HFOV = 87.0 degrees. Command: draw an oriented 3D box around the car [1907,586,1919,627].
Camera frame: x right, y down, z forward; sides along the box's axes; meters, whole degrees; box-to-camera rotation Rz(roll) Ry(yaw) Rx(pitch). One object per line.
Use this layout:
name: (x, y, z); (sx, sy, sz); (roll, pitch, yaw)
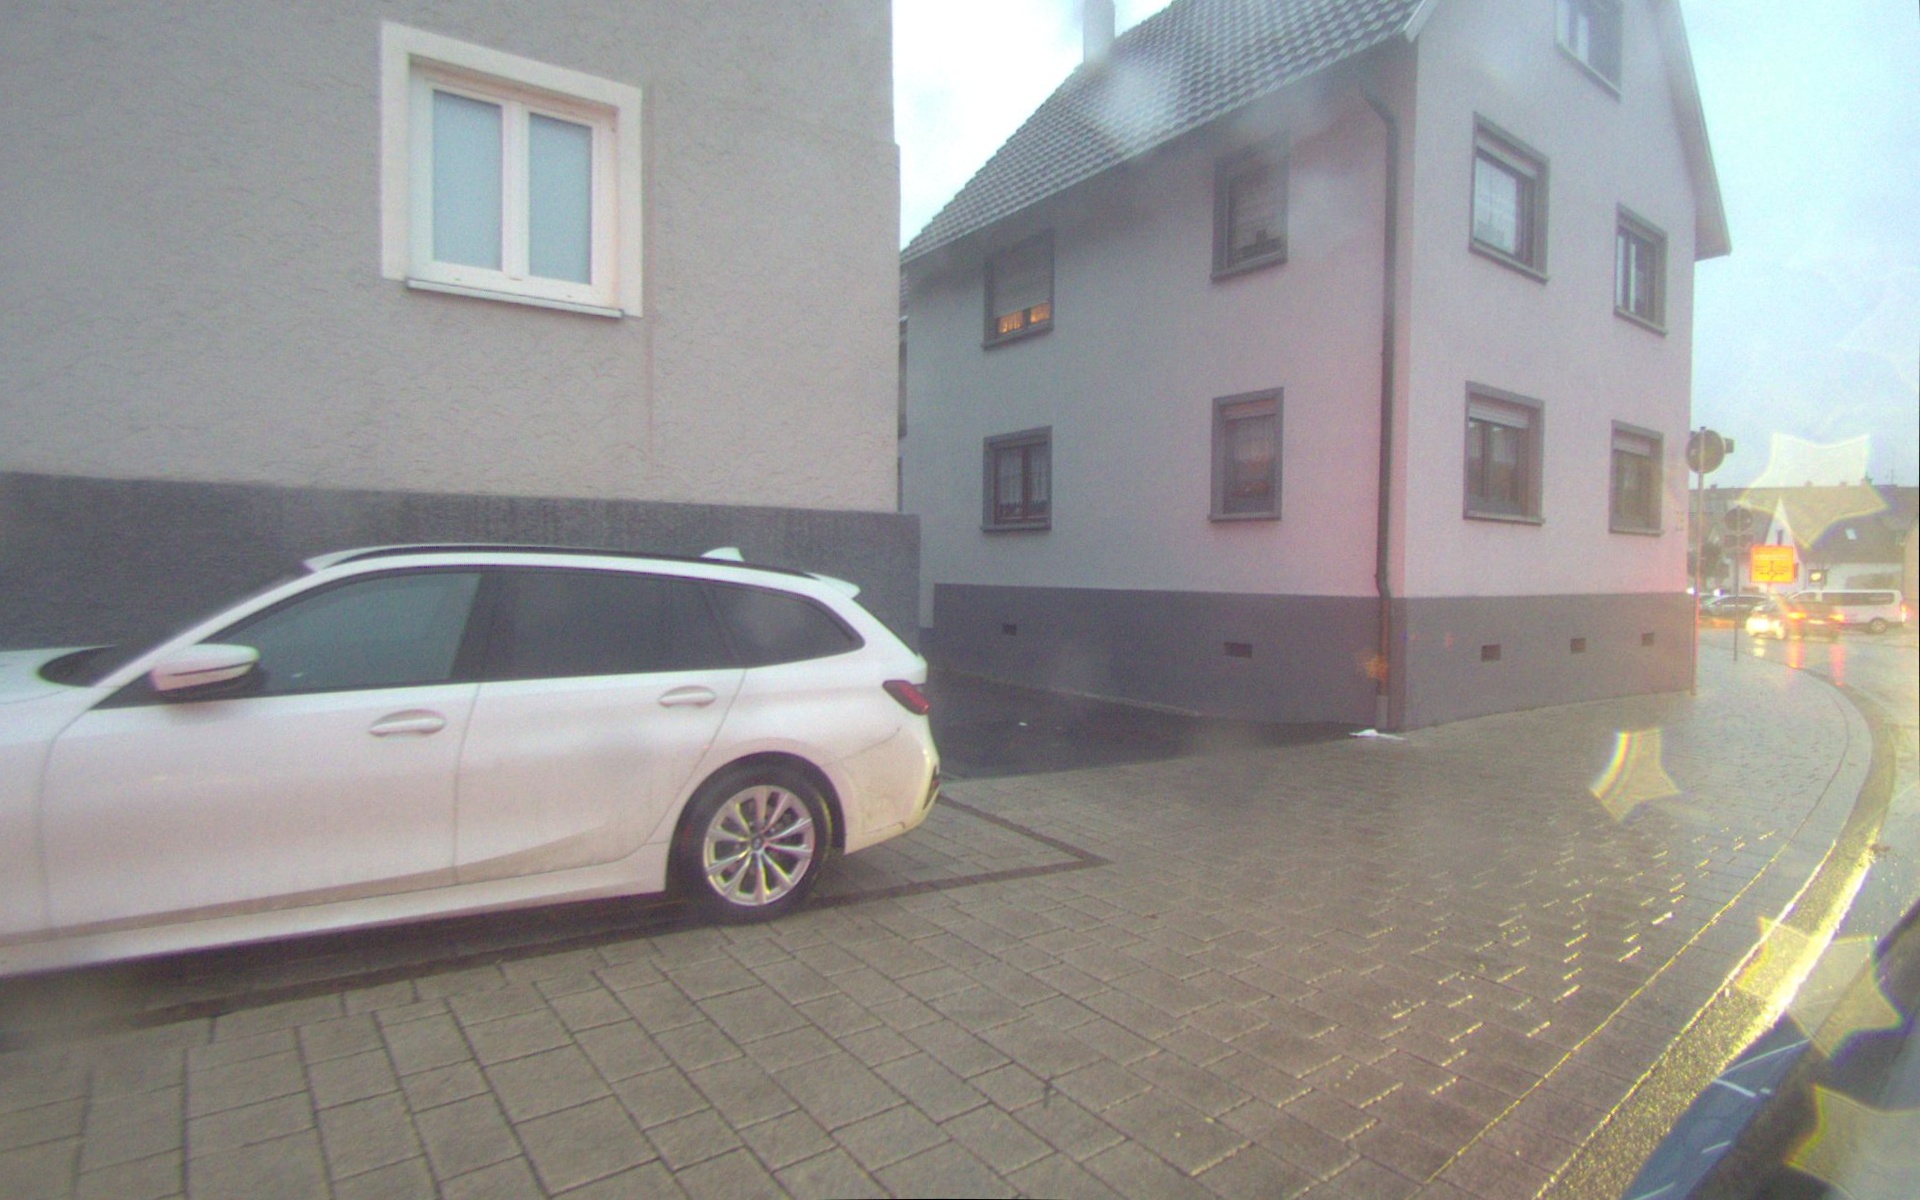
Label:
car: (41.473, 0.328, 40.676); (4.393, 1.652, 2.142); (1, 1, 20)

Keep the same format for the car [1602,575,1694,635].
car: (24.867, 0.142, 36.770); (1.959, 1.984, 4.810); (2, 1, 25)

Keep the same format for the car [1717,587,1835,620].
car: (46.808, 0.204, 58.173); (4.823, 1.705, 1.986); (2, 0, 21)

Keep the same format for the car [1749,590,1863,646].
car: (32.532, 0.624, 39.099); (2.124, 1.883, 4.705); (0, 2, 24)

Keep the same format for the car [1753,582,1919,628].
car: (39.909, 0.204, 46.124); (5.737, 1.971, 1.967); (0, 0, 33)

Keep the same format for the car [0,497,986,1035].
car: (-2.295, 0.424, 4.088); (4.452, 1.484, 1.892); (1, 2, -31)

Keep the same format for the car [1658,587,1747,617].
car: (49.450, 0.105, 67.464); (4.370, 1.824, 1.833); (2, 1, 19)
